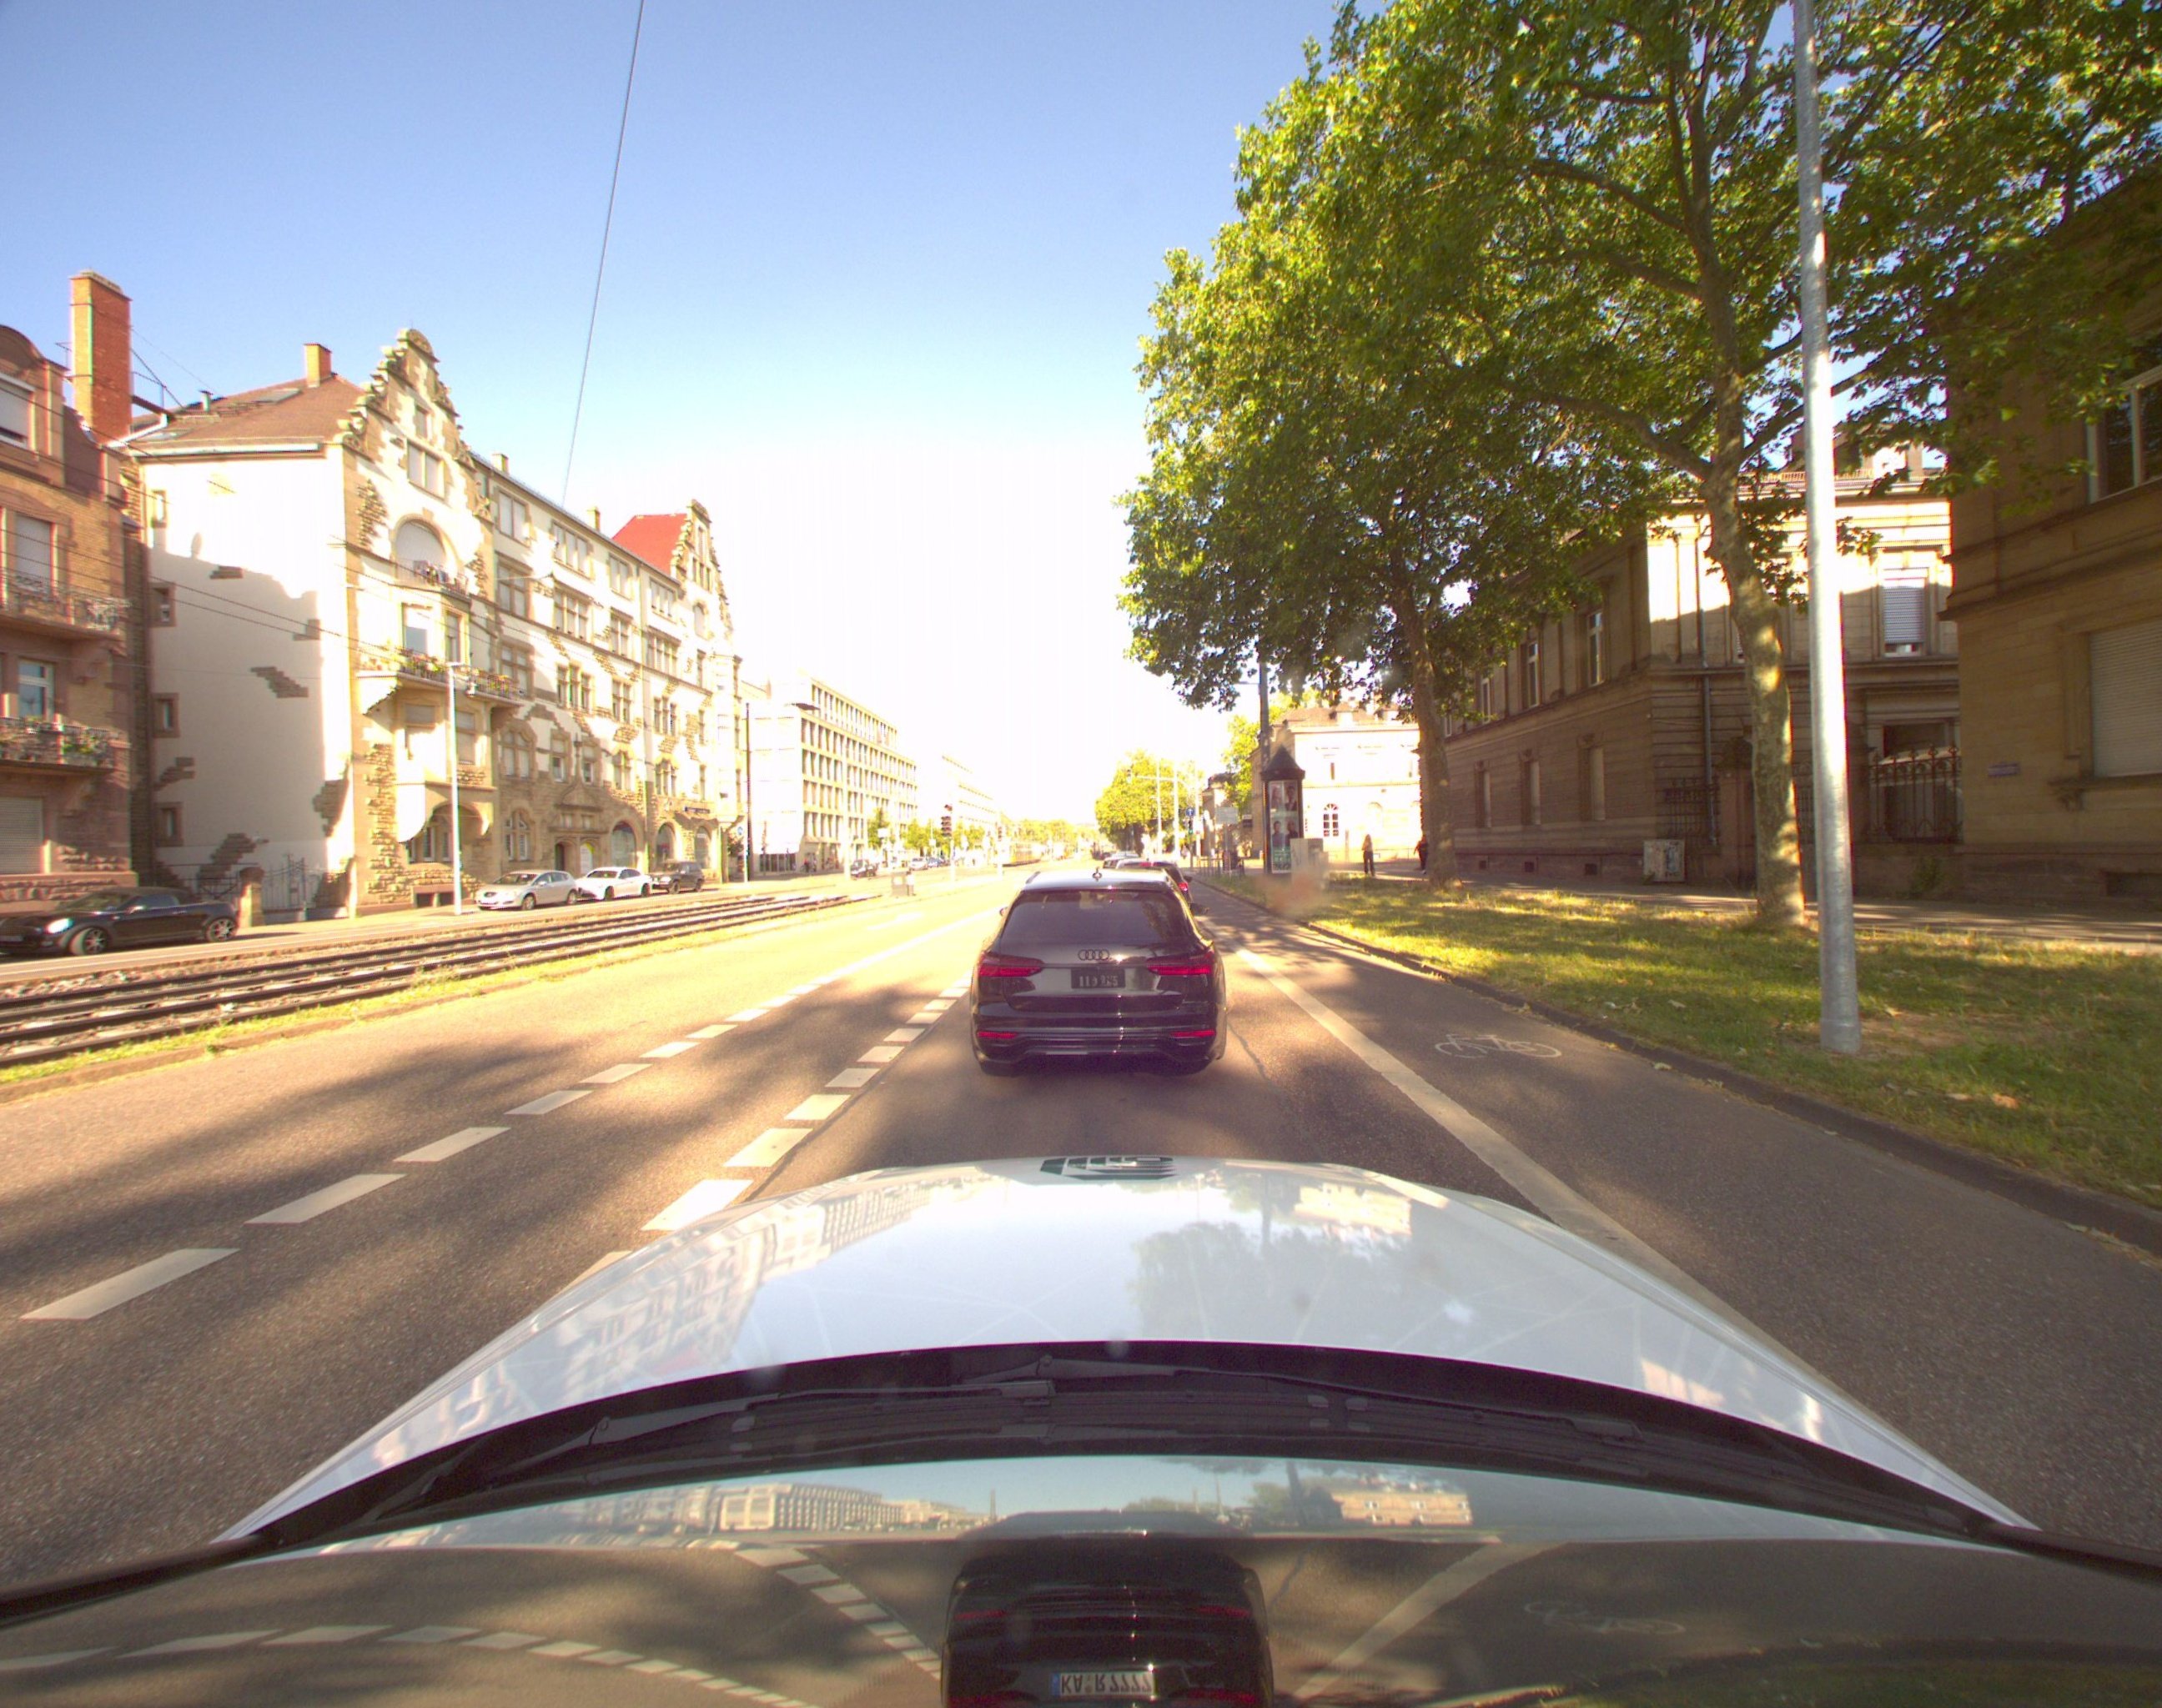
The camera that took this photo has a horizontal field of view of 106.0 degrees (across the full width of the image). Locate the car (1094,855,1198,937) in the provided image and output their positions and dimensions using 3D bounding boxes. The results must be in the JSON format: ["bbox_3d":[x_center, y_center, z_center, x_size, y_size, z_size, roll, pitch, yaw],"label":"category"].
[{"bbox_3d":[1.288,0.766,16.965,1.895,1.486,4.147,-1,0,3],"label":"car"}]

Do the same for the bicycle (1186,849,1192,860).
[{"bbox_3d":[11.271,0.086,84.873,0.433,1.145,1.340,-2,0,1],"label":"bicycle"}]

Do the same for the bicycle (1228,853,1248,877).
[{"bbox_3d":[7.345,0.510,38.088,0.538,1.061,1.770,-2,0,-1],"label":"bicycle"}]

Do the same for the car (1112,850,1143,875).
[{"bbox_3d":[2.925,0.527,51.806,1.895,1.486,4.147,-1,0,3],"label":"car"}]

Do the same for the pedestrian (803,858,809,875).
[{"bbox_3d":[-31.443,1.443,93.238,0.475,1.843,0.438,-2,0,-36],"label":"pedestrian"}]

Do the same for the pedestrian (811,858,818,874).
[{"bbox_3d":[-30.649,1.379,93.681,0.535,1.843,0.438,-2,0,-36],"label":"pedestrian"}]

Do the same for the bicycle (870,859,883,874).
[{"bbox_3d":[-20.908,1.277,83.423,0.682,1.381,1.949,-2,0,3],"label":"bicycle"}]

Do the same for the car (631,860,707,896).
[{"bbox_3d":[-21.020,1.169,41.749,1.711,1.675,4.217,0,0,1],"label":"car"}]

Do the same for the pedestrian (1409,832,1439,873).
[{"bbox_3d":[13.836,-0.066,32.866,0.766,1.606,0.987,-2,0,3],"label":"pedestrian"}]

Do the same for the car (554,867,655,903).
[{"bbox_3d":[-21.202,1.337,36.487,1.711,1.423,4.656,0,0,1],"label":"car"}]

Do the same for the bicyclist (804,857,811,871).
[{"bbox_3d":[-31.979,1.162,95.222,0.644,1.686,0.573,-2,0,-22],"label":"bicyclist"}]

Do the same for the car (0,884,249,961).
[{"bbox_3d":[-21.491,1.457,18.323,1.616,1.354,3.727,1,0,1],"label":"car"}]

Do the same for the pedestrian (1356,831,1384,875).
[{"bbox_3d":[11.722,-0.049,33.073,0.766,1.709,1.043,-2,0,4],"label":"pedestrian"}]

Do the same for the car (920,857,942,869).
[{"bbox_3d":[-18.901,1.128,102.716,1.814,1.457,4.157,-2,0,0],"label":"car"}]

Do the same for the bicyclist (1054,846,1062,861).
[{"bbox_3d":[-2.805,-0.083,97.696,0.757,1.818,0.761,-2,0,-13],"label":"bicyclist"}]

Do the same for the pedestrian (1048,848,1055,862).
[{"bbox_3d":[-3.581,0.108,99.194,0.740,1.741,0.661,-2,0,-12],"label":"pedestrian"}]

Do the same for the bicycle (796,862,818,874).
[{"bbox_3d":[-32.001,1.642,95.215,2.391,1.215,0.573,-2,0,-22],"label":"bicycle"}]

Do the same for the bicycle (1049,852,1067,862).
[{"bbox_3d":[-2.760,0.374,97.686,2.008,1.108,0.761,-2,0,-14],"label":"bicycle"}]

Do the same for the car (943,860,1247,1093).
[{"bbox_3d":[0.184,0.793,7.202,1.895,1.421,4.147,-1,0,3],"label":"car"}]

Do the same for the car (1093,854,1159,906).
[{"bbox_3d":[1.415,0.759,25.805,1.895,1.486,4.147,-1,0,3],"label":"car"}]

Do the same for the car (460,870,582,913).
[{"bbox_3d":[-21.164,1.372,31.008,1.704,1.431,4.223,0,0,0],"label":"car"}]

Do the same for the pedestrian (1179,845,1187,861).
[{"bbox_3d":[10.642,-0.116,84.865,0.679,1.660,0.758,-2,0,0],"label":"pedestrian"}]

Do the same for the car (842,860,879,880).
[{"bbox_3d":[-17.534,1.237,64.936,1.814,1.457,4.164,-2,0,-1],"label":"car"}]

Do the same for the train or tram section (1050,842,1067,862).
[{"bbox_3d":[-4.123,-0.365,150.209,2.600,3.450,11.133,-2,0,1],"label":"train or tram section"}]

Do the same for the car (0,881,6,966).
[{"bbox_3d":[-21.778,1.333,13.496,1.849,1.623,4.504,1,0,1],"label":"car"}]

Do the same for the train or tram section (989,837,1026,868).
[{"bbox_3d":[-8.987,-0.189,101.077,2.802,3.489,13.211,-2,0,2],"label":"train or tram section"}]

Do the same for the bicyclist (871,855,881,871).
[{"bbox_3d":[-20.936,0.897,83.250,0.682,1.563,0.786,-2,0,3],"label":"bicyclist"}]

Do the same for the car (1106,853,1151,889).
[{"bbox_3d":[2.118,0.727,36.470,1.895,1.486,4.147,-1,0,3],"label":"car"}]

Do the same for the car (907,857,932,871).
[{"bbox_3d":[-17.795,1.108,89.903,1.814,1.457,4.540,-2,0,0],"label":"car"}]

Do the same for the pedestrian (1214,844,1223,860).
[{"bbox_3d":[16.382,-0.259,97.001,0.975,1.865,0.827,-2,0,2],"label":"pedestrian"}]
